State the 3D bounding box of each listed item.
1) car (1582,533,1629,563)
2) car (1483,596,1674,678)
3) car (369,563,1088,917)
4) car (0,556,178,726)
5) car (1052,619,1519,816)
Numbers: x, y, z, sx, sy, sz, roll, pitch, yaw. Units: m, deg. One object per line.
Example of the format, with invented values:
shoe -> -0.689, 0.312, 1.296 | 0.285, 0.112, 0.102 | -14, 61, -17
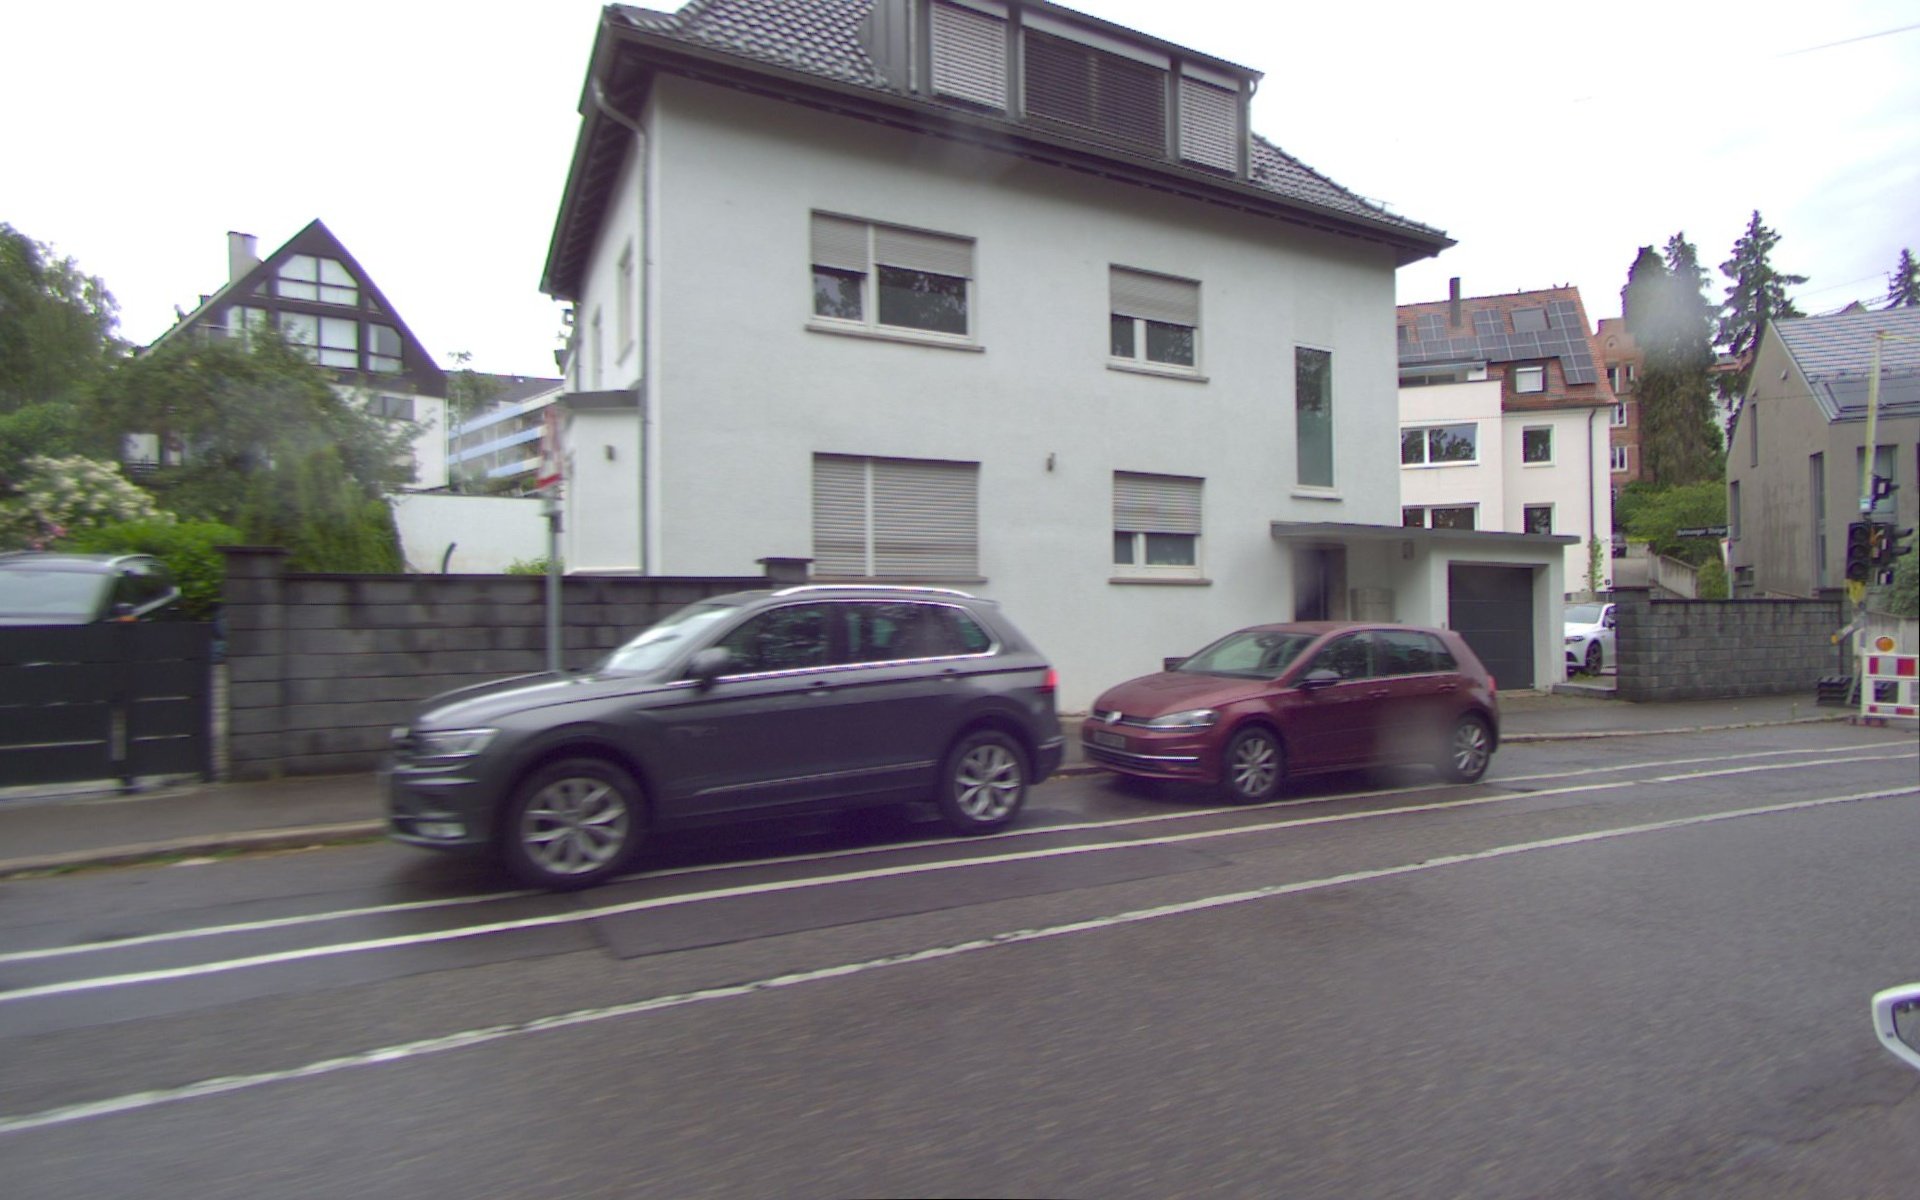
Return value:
car -> 39.015, -3.131, 60.774 | 1.747, 1.483, 3.615 | 0, -2, 23
car -> 12.314, 0.728, 19.976 | 3.574, 1.483, 1.767 | 1, -2, -30
car -> -1.395, 0.723, 6.704 | 4.357, 1.680, 1.745 | 1, -3, -33
car -> -10.240, 0.348, 11.322 | 1.715, 1.617, 3.966 | 3, 0, -31
car -> 3.032, 0.911, 9.209 | 4.175, 1.459, 1.611 | 0, -1, -27
